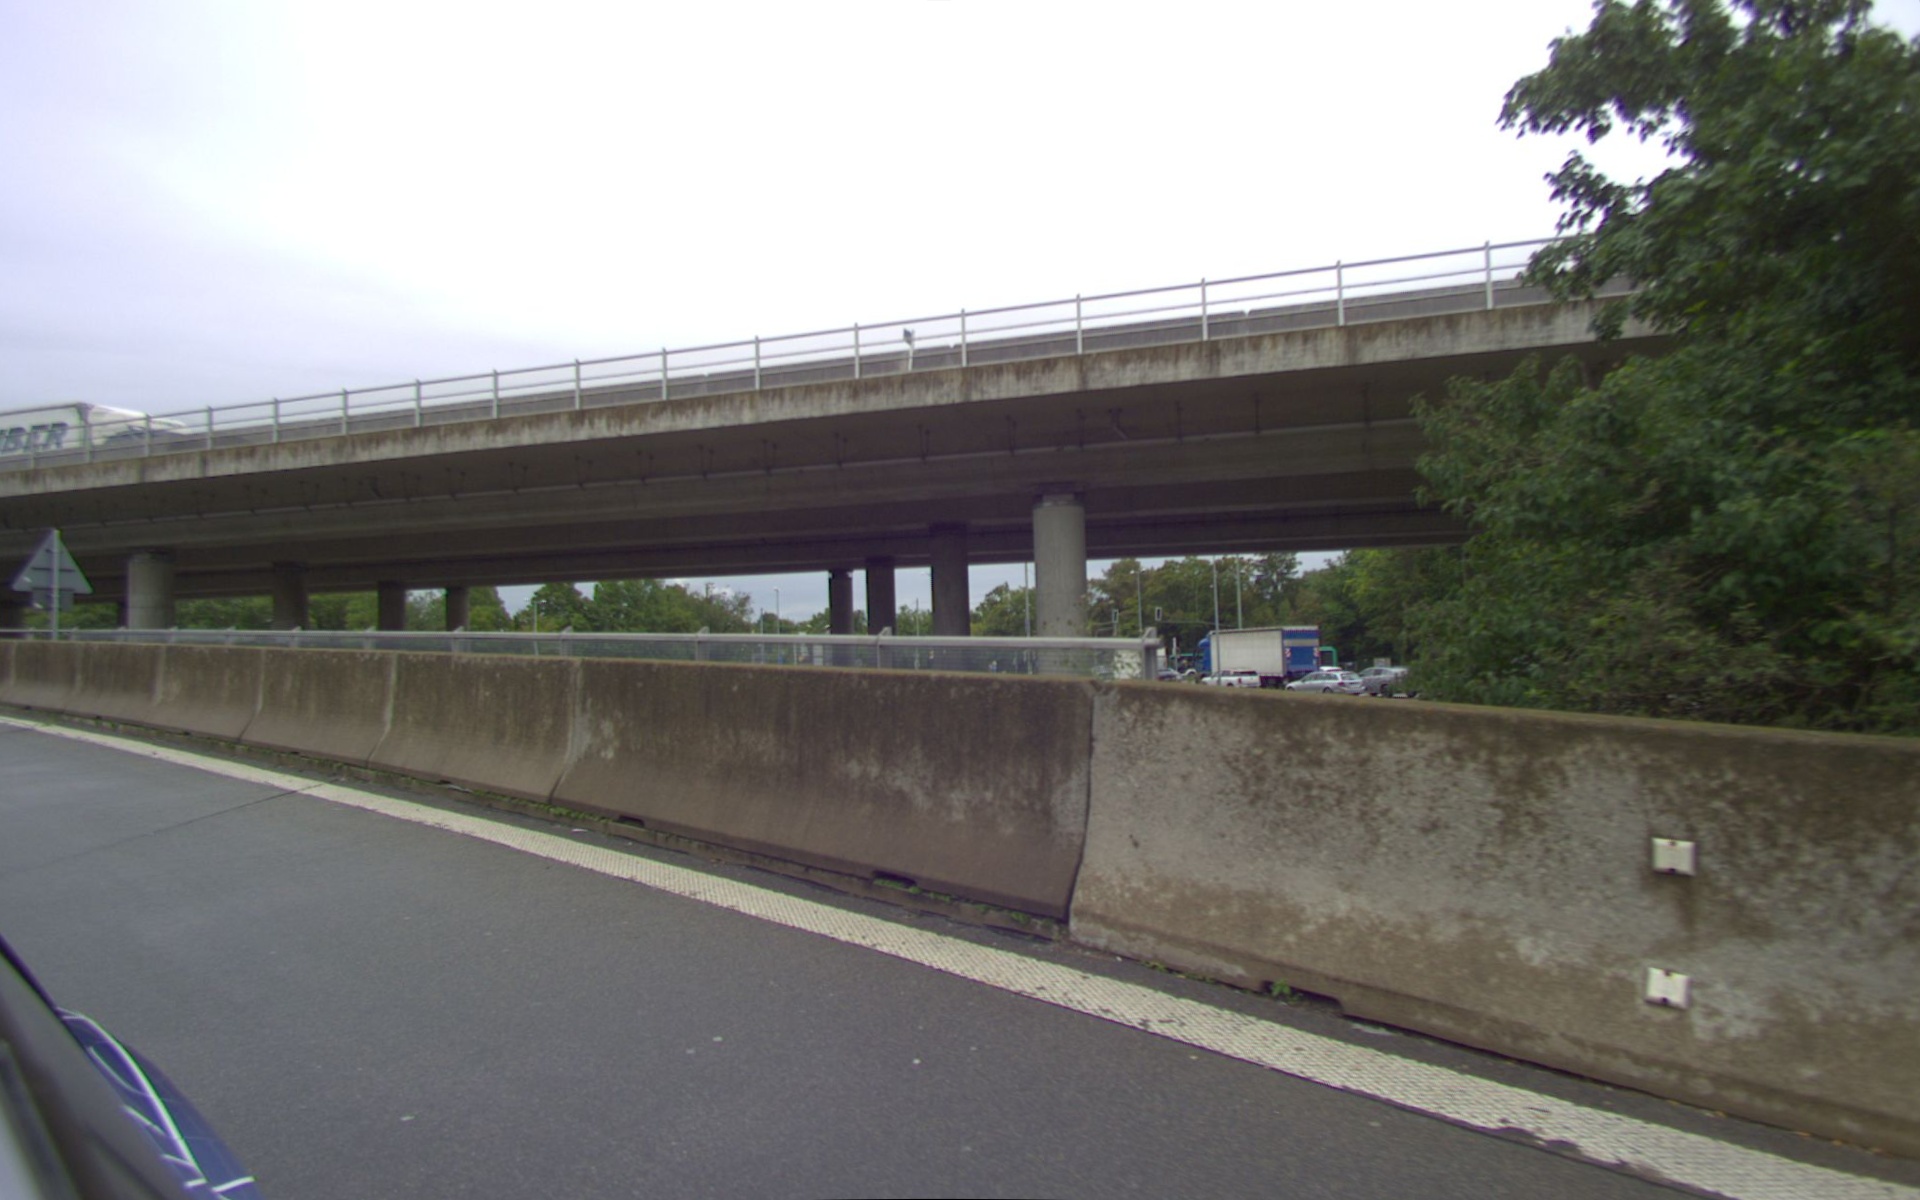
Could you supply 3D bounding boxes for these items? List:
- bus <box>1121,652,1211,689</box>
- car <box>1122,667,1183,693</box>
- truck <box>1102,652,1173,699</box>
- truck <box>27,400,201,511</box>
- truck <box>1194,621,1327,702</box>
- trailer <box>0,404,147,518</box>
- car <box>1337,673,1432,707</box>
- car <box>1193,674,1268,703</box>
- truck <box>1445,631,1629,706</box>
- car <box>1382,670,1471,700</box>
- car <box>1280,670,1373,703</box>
[{"bbox_3d":[23.183,7.868,114.251,9.893,3.729,2.204,0,-2,36],"label":"bus"},{"bbox_3d":[12.947,5.384,68.393,1.941,1.595,4.605,2,-4,-21],"label":"car"},{"bbox_3d":[14.392,6.108,82.711,2.751,3.708,6.664,2,-3,-19],"label":"truck"},{"bbox_3d":[-31.364,-5.263,37.580,5.149,3.271,2.583,-3,-2,17],"label":"truck"},{"bbox_3d":[18.354,3.784,62.729,2.751,4.627,9.631,2,-3,-19],"label":"truck"},{"bbox_3d":[-38.304,-5.086,39.659,13.937,3.323,2.652,-2,-2,17],"label":"trailer"},{"bbox_3d":[21.932,4.619,52.466,1.941,1.595,4.605,2,-3,-19],"label":"car"},{"bbox_3d":[16.000,5.231,60.169,1.941,1.595,4.605,2,-4,-22],"label":"car"},{"bbox_3d":[24.855,2.879,44.081,2.221,3.000,7.255,2,-2,-19],"label":"truck"},{"bbox_3d":[26.474,4.800,57.643,1.941,1.595,4.605,2,-3,-19],"label":"car"},{"bbox_3d":[18.888,4.441,52.414,1.941,1.595,4.605,2,-4,-22],"label":"car"}]
